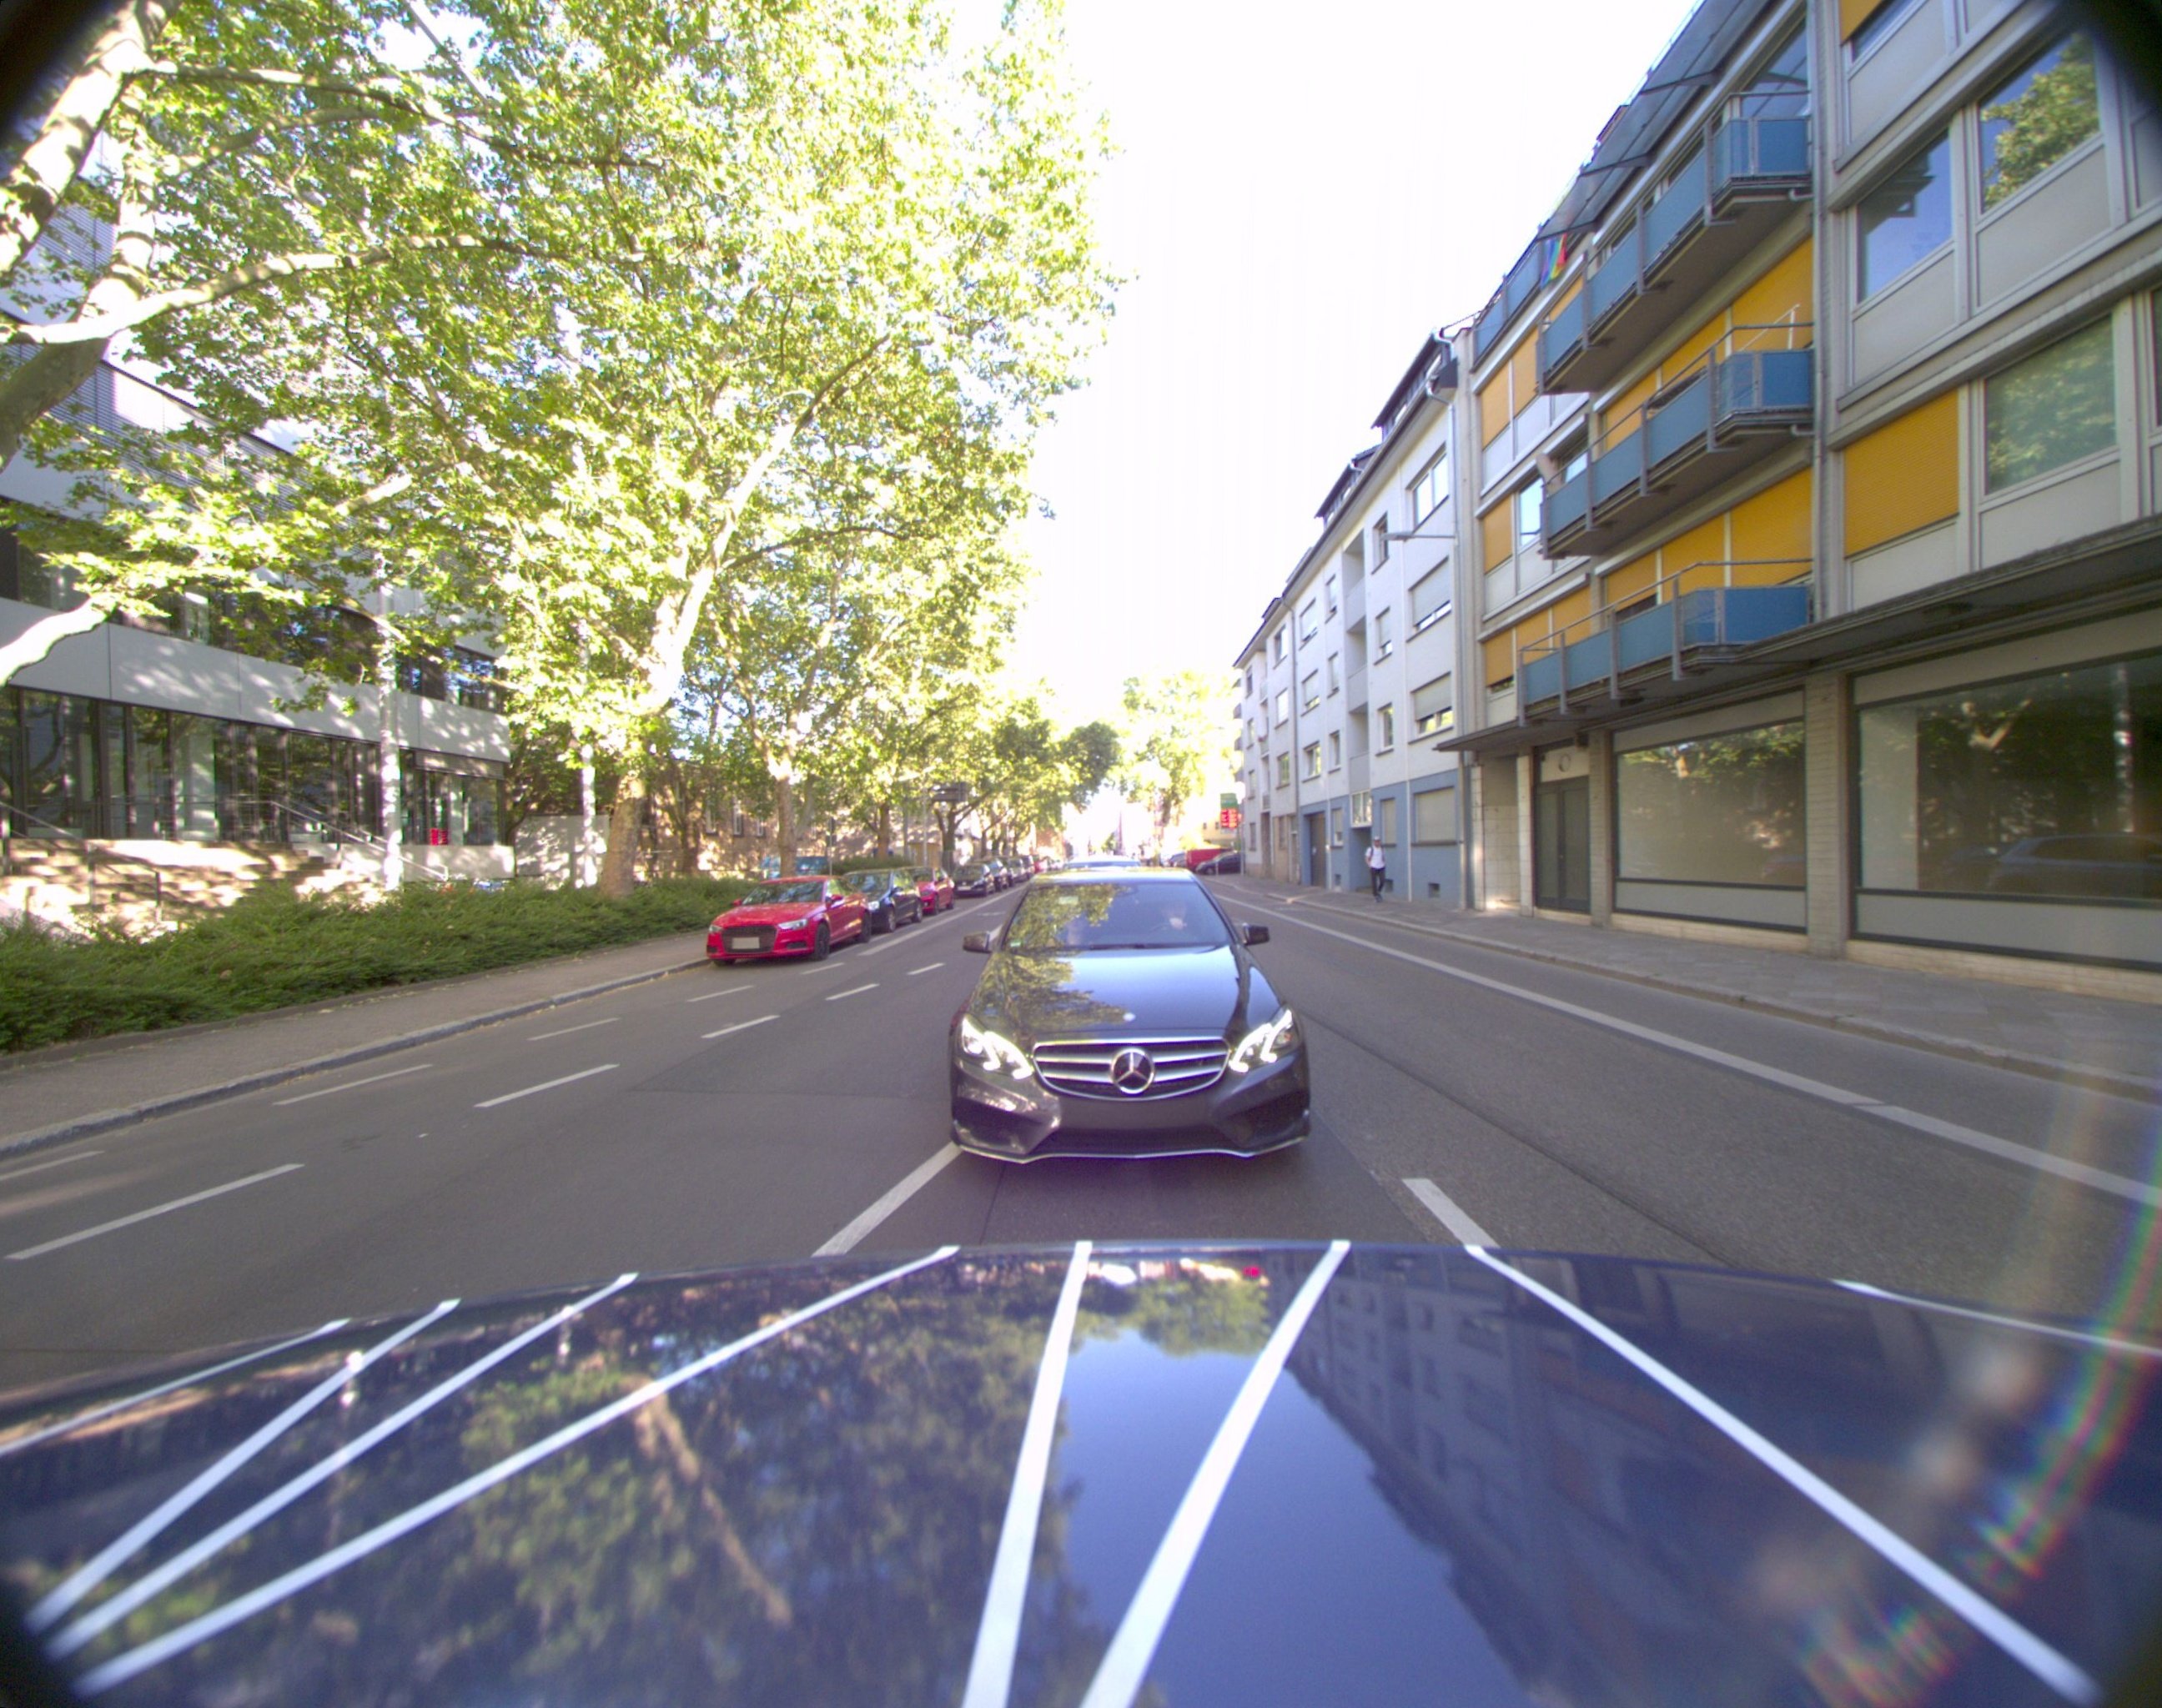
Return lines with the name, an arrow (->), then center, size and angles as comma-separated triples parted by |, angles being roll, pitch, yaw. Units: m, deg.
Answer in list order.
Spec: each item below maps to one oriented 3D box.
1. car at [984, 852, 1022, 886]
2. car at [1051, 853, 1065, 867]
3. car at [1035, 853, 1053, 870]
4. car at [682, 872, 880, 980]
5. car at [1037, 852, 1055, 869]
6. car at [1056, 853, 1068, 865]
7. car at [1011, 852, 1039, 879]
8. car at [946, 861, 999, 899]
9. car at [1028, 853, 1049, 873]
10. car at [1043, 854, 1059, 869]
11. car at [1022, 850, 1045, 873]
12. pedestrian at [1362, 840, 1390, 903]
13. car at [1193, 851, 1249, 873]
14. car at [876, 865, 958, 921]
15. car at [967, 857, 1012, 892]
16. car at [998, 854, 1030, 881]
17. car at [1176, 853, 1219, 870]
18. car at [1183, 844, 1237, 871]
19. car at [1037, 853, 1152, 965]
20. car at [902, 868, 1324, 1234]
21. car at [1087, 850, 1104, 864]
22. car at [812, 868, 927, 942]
car -> -4.485, 0.851, 44.041 | 1.635, 1.795, 3.845 | -3, 0, 1
car -> -3.048, 0.784, 102.733 | 1.635, 1.713, 3.673 | -3, 0, 1
car -> -3.939, 0.754, 82.059 | 1.635, 1.713, 3.673 | -3, 0, 1
car -> -5.143, 1.160, 13.704 | 1.804, 1.455, 4.125 | -3, 0, 1
car -> -3.952, 0.711, 86.093 | 1.635, 1.713, 3.673 | -3, 0, 1
car -> -2.730, 0.707, 109.670 | 1.635, 1.713, 3.673 | -3, 0, 1
car -> -4.073, 0.824, 55.583 | 1.635, 1.799, 3.673 | -3, 0, 1
car -> -4.681, 1.091, 33.156 | 1.635, 1.455, 3.740 | -3, 0, 1
car -> -3.935, 0.829, 71.022 | 1.635, 1.713, 3.673 | -3, 0, 1
car -> -3.613, 0.919, 92.221 | 1.635, 1.713, 3.673 | -3, 0, 1
car -> -4.130, 0.635, 66.121 | 1.635, 1.878, 3.673 | -3, 0, 1
pedestrian -> 8.277, 0.492, 21.298 | 0.569, 1.716, 0.343 | -3, 1, 1
car -> 10.080, 0.549, 54.703 | 3.670, 1.403, 1.636 | -3, 0, 1
car -> -5.000, 1.143, 23.682 | 1.635, 1.455, 3.740 | -3, 0, 1
car -> -4.529, 0.967, 38.047 | 1.635, 1.578, 3.845 | -3, 0, 1
car -> -4.421, 0.893, 50.728 | 1.635, 1.644, 3.845 | -3, 0, 1
car -> 9.592, 0.626, 62.607 | 3.325, 1.241, 1.295 | -3, 0, 1
car -> 10.167, 0.253, 59.998 | 3.927, 1.912, 1.636 | -3, 0, 1
car -> 0.240, 0.845, 13.746 | 1.680, 1.622, 4.125 | -3, 0, 1
car -> 0.171, 0.917, 5.439 | 1.804, 1.455, 4.125 | -3, 0, 1
car -> 1.604, 0.278, 85.541 | 1.853, 1.455, 4.099 | -3, 0, 1
car -> -4.998, 1.144, 18.476 | 1.635, 1.455, 3.740 | -3, 0, 1
